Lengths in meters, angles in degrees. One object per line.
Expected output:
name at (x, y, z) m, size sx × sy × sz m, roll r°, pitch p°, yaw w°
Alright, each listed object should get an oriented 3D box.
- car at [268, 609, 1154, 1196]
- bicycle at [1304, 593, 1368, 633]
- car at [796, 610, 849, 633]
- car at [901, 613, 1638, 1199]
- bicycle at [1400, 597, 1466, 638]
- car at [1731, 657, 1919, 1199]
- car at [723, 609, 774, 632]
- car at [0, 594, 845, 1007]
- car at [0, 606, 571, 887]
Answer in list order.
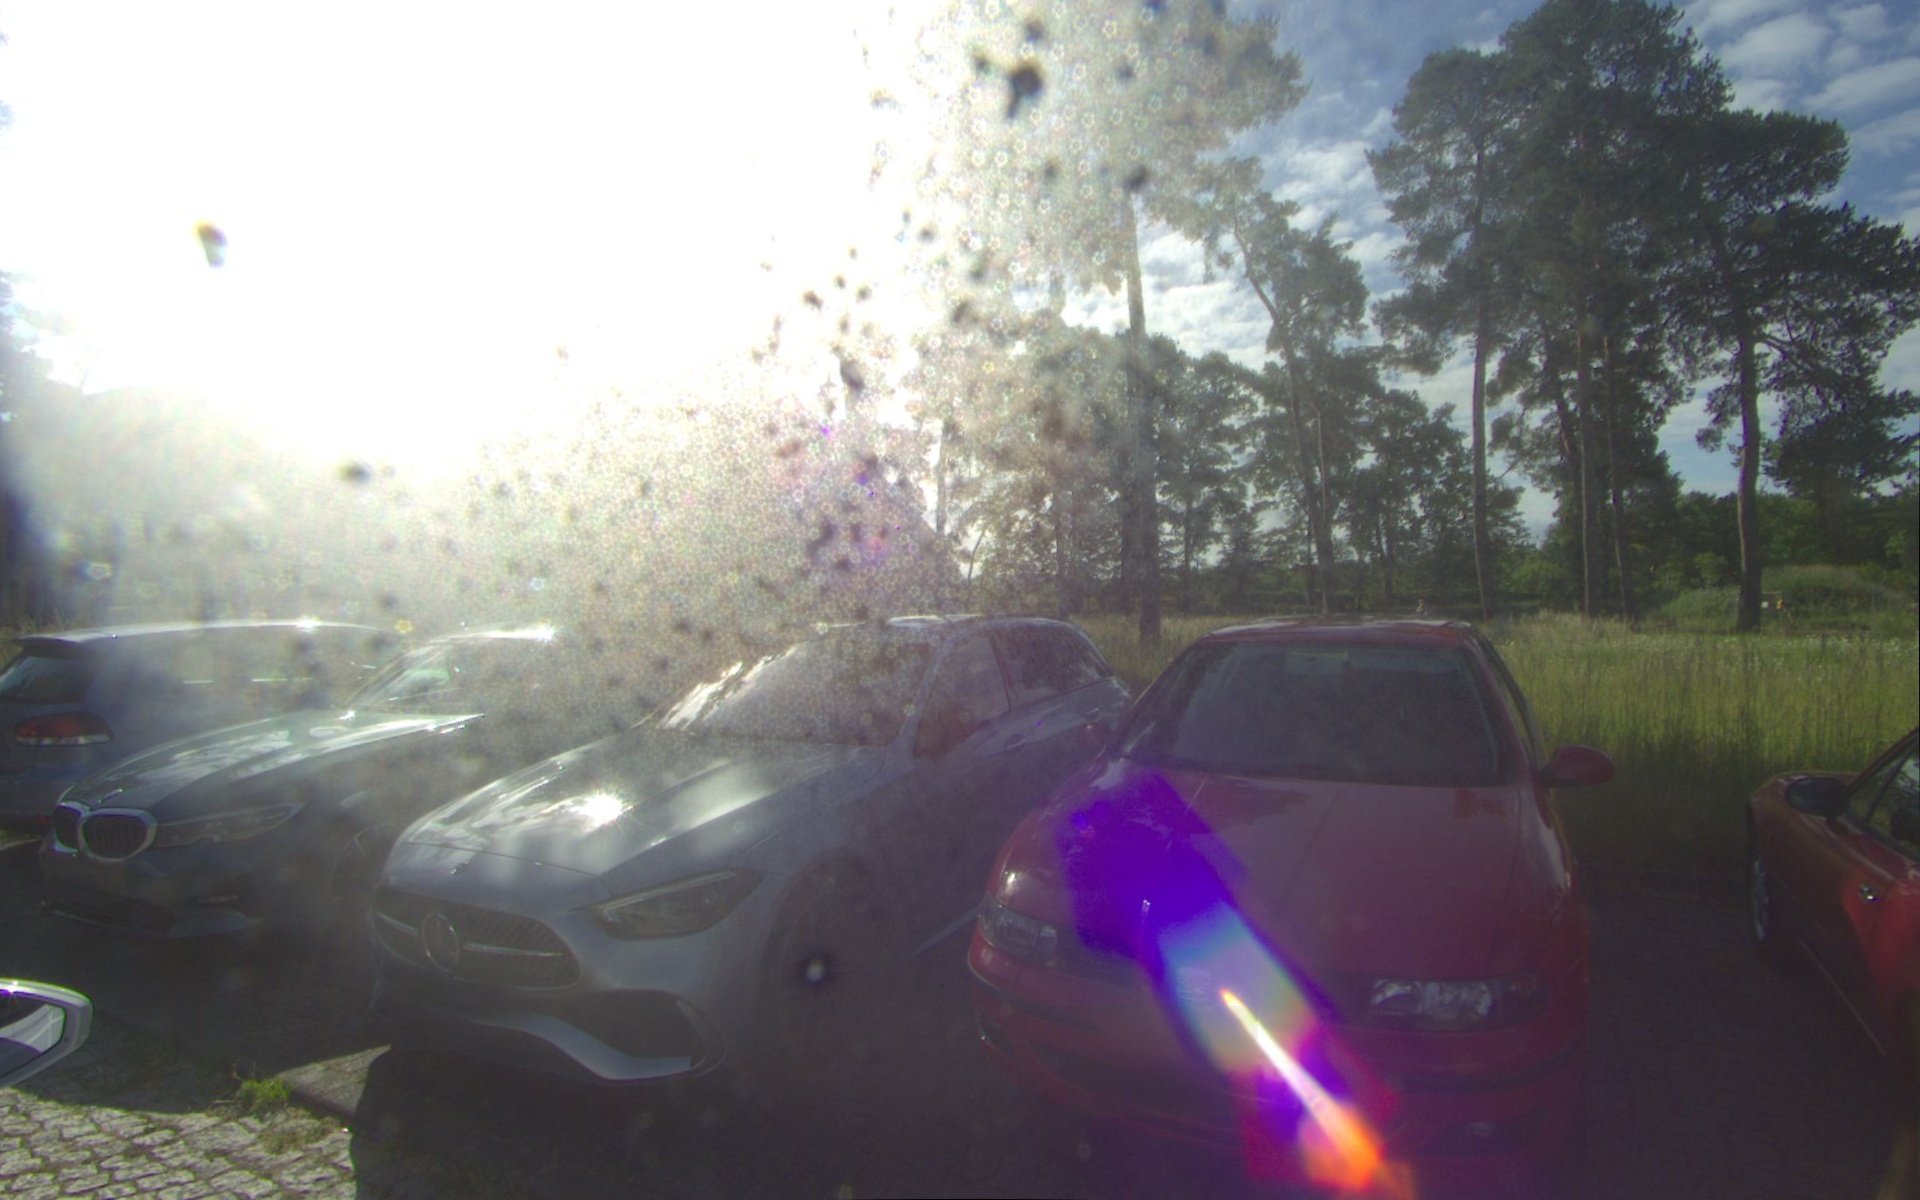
car at (-0.551, 0.815, 4.954) m, size 1.761 × 1.407 × 4.394 m, roll 0°, pitch 1°, yaw 28°
bicycle at (20.201, 0.692, 53.852) m, size 3.083 × 2.040 × 0.949 m, roll -2°, pitch -1°, yaw 29°
car at (-9.579, 1.489, 69.975) m, size 1.741 × 1.517 × 3.629 m, roll -1°, pitch 0°, yaw 31°
car at (1.507, 0.833, 4.030) m, size 1.630 × 1.468 × 3.974 m, roll 0°, pitch 1°, yaw 29°
bicycle at (24.832, 0.911, 52.624) m, size 3.081 × 2.040 × 0.950 m, roll -2°, pitch -1°, yaw 26°
car at (3.188, 0.861, 2.504) m, size 1.513 × 1.258 × 3.456 m, roll 0°, pitch -1°, yaw 30°
car at (-15.665, 1.504, 74.286) m, size 1.741 × 1.693 × 3.629 m, roll 0°, pitch 0°, yaw 31°
car at (-2.791, 0.777, 6.360) m, size 1.840 × 1.475 × 4.614 m, roll 0°, pitch 2°, yaw 27°
car at (-5.031, 0.834, 7.586) m, size 1.640 × 1.463 × 3.667 m, roll 0°, pitch 1°, yaw 29°
